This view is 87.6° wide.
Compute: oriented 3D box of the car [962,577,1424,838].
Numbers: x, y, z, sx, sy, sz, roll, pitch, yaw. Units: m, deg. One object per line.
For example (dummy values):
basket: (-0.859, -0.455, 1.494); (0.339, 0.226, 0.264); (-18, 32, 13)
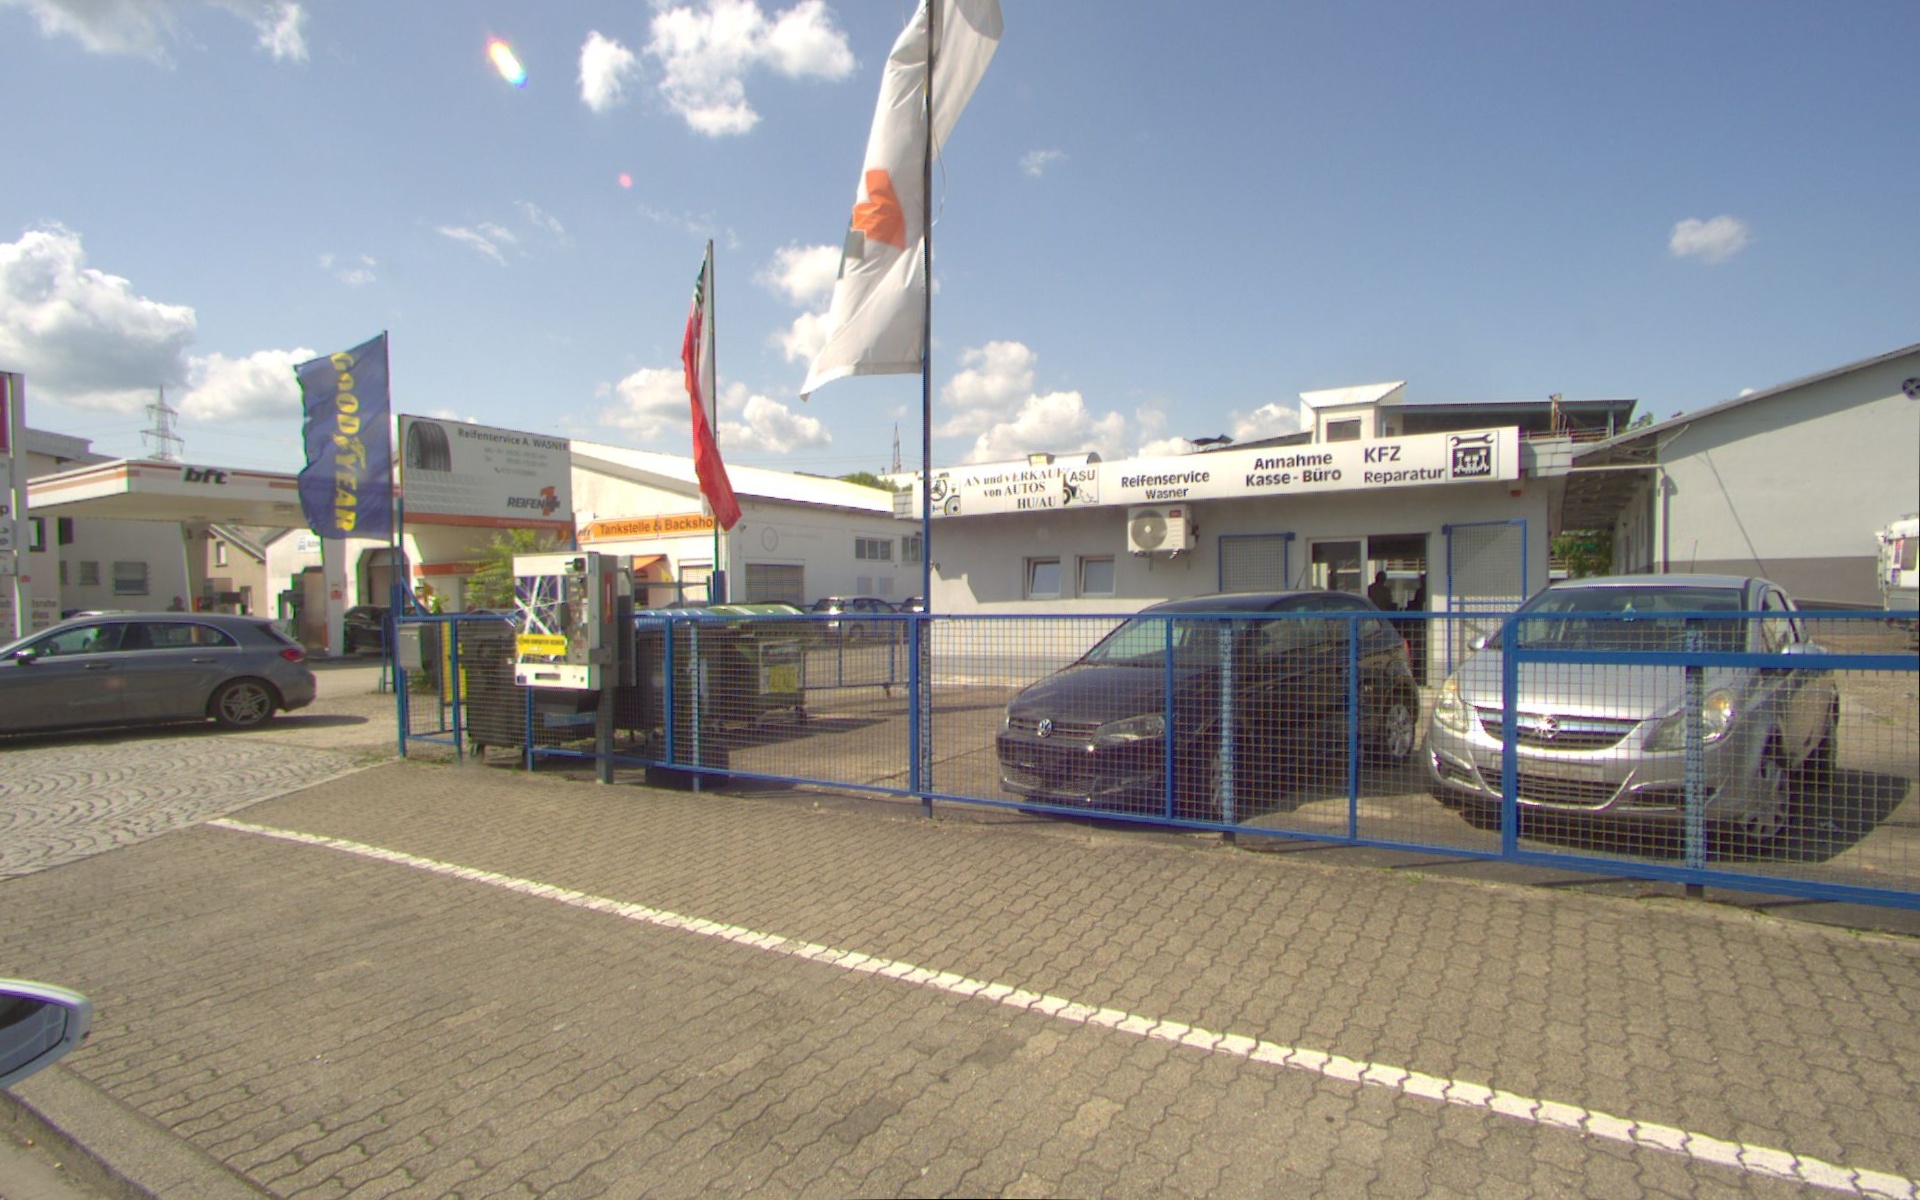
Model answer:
car: (1.895, 0.599, 7.488); (3.655, 1.472, 1.625); (-1, 0, -43)

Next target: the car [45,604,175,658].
car: (-25.741, 0.898, 30.314); (3.776, 1.523, 1.803); (-1, 0, 30)

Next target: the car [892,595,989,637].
car: (-0.644, 0.532, 35.743); (1.564, 1.385, 3.860); (0, 0, 33)

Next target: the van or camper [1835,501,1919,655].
van or camper: (21.010, -0.455, 19.536); (5.571, 3.005, 2.264); (0, 1, 31)

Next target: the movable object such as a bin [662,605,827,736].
movable object such as a bin: (-2.538, 0.780, 11.910); (1.318, 1.414, 1.400); (0, 1, 31)

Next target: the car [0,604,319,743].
car: (-10.102, 0.792, 11.708); (4.237, 1.434, 1.660); (-1, 0, -40)

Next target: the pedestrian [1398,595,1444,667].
pedestrian: (8.041, 0.530, 17.446); (0.654, 1.225, 0.563); (0, 1, 34)

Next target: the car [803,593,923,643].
car: (-3.020, 0.525, 32.058); (1.564, 1.482, 4.187); (0, 0, 33)

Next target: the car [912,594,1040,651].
car: (0.528, 0.553, 27.453); (1.649, 1.434, 4.266); (0, 0, 30)

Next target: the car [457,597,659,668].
car: (-9.170, 0.686, 23.171); (1.564, 1.482, 4.187); (0, 0, 33)

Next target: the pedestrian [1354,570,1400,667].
pedestrian: (7.347, 0.317, 17.653); (0.654, 1.671, 0.563); (0, 1, 34)

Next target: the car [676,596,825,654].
car: (-5.723, 0.640, 27.827); (1.564, 1.482, 4.187); (0, 0, 33)

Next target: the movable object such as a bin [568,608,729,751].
movable object such as a bin: (-3.332, 0.799, 10.745); (1.225, 1.415, 1.106); (0, 1, 31)

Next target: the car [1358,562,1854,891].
car: (4.267, 0.558, 6.387); (3.729, 1.472, 1.757); (-1, 0, -42)

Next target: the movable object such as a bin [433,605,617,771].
movable object such as a bin: (-4.164, 0.783, 9.614); (1.225, 1.455, 1.106); (0, 1, 31)

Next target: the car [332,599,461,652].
car: (-17.295, 0.745, 30.712); (3.777, 1.523, 1.803); (-1, 0, 31)

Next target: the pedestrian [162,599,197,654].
pedestrian: (-23.781, 0.798, 30.523); (0.698, 1.679, 0.546); (-1, 1, -22)
